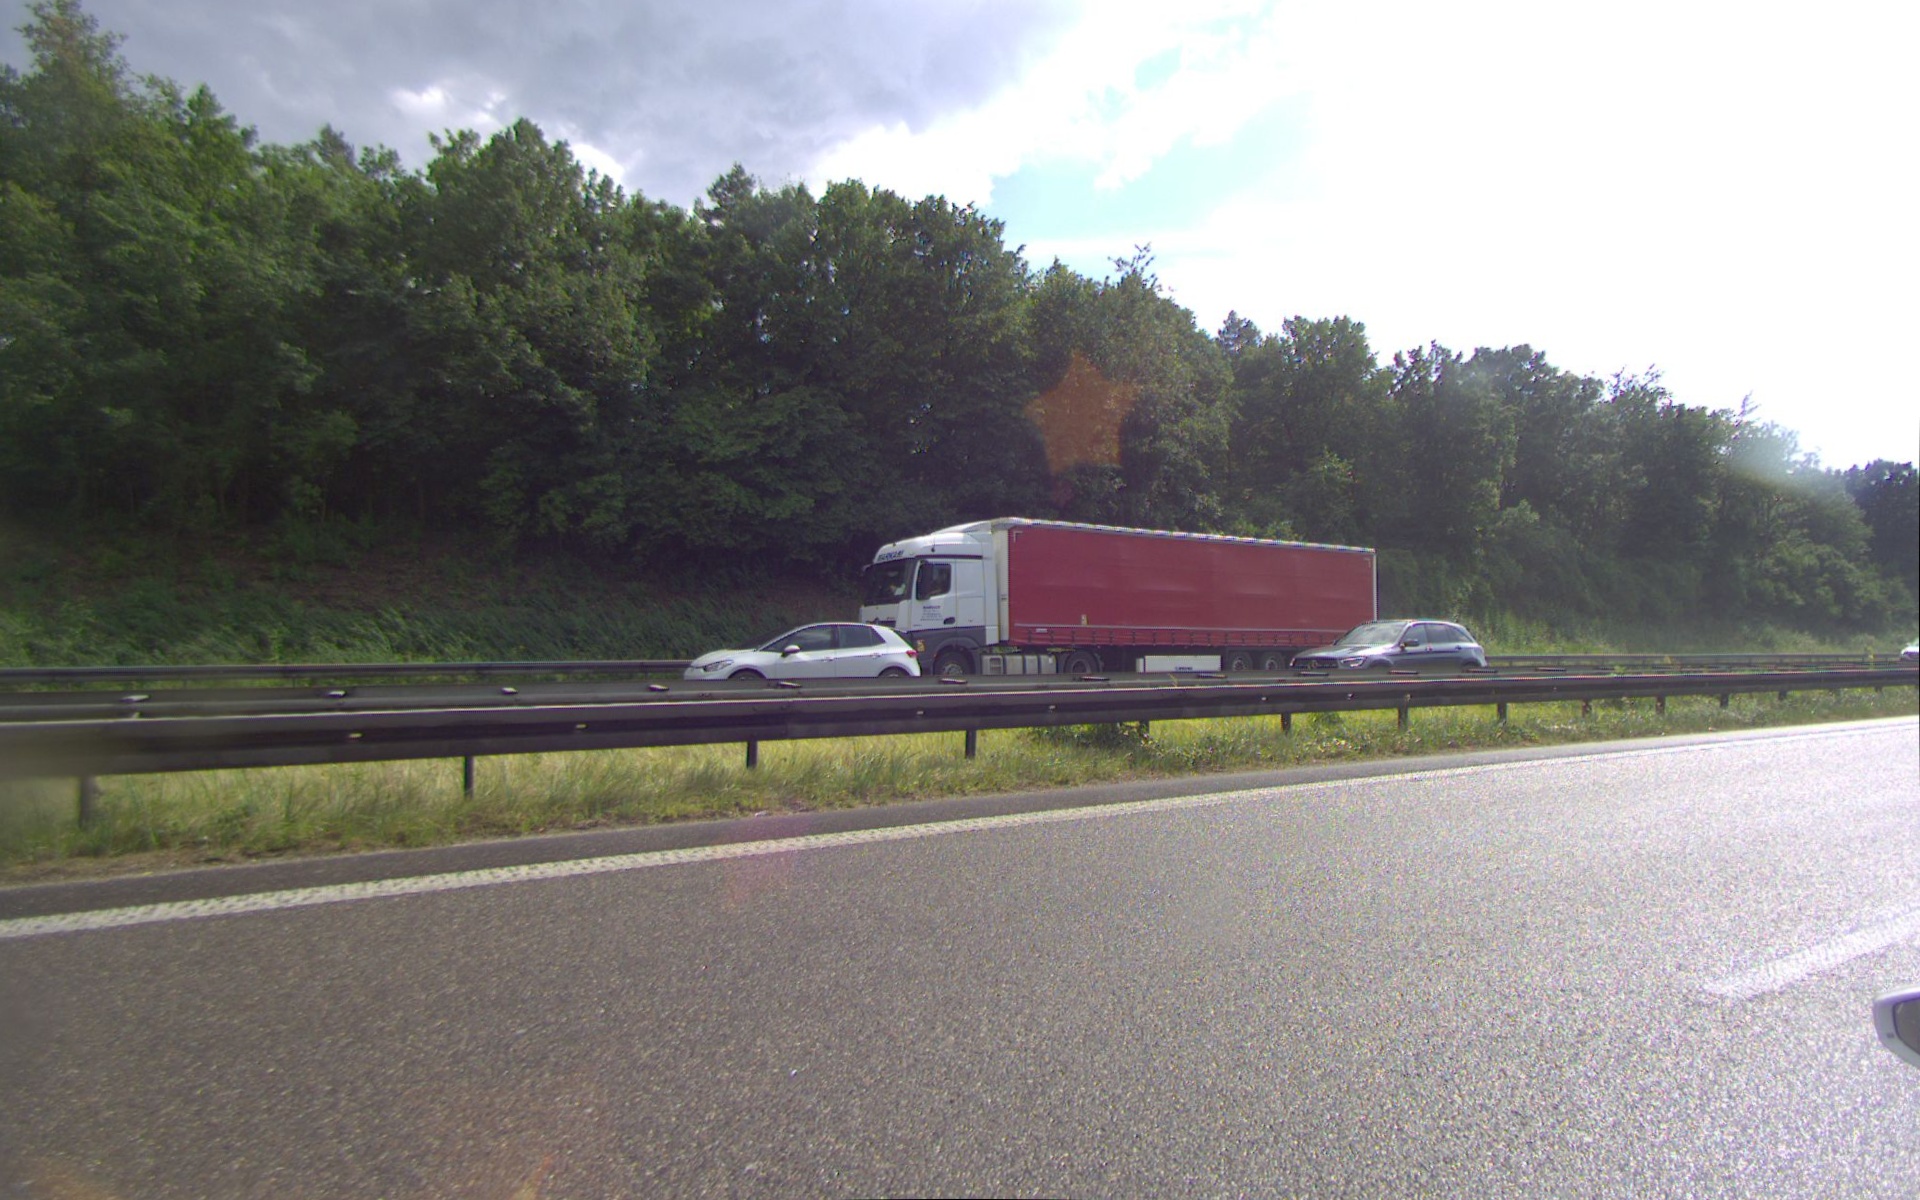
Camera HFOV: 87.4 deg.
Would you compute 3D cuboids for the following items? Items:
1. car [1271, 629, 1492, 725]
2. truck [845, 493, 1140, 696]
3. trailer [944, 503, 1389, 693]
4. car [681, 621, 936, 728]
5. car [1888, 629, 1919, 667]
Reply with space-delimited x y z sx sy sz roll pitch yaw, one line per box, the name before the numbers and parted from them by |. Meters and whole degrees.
car | 8.512 1.481 20.188 4.390 1.685 1.828 2 0 -31
truck | 0.882 -0.047 24.994 6.789 4.431 2.849 2 0 -31
trailer | 6.320 0.124 28.260 13.930 4.431 2.848 2 0 -31
car | -2.685 1.274 18.037 4.187 1.685 1.691 2 0 -31
car | 45.358 2.244 46.719 4.644 1.685 2.006 2 0 -31
